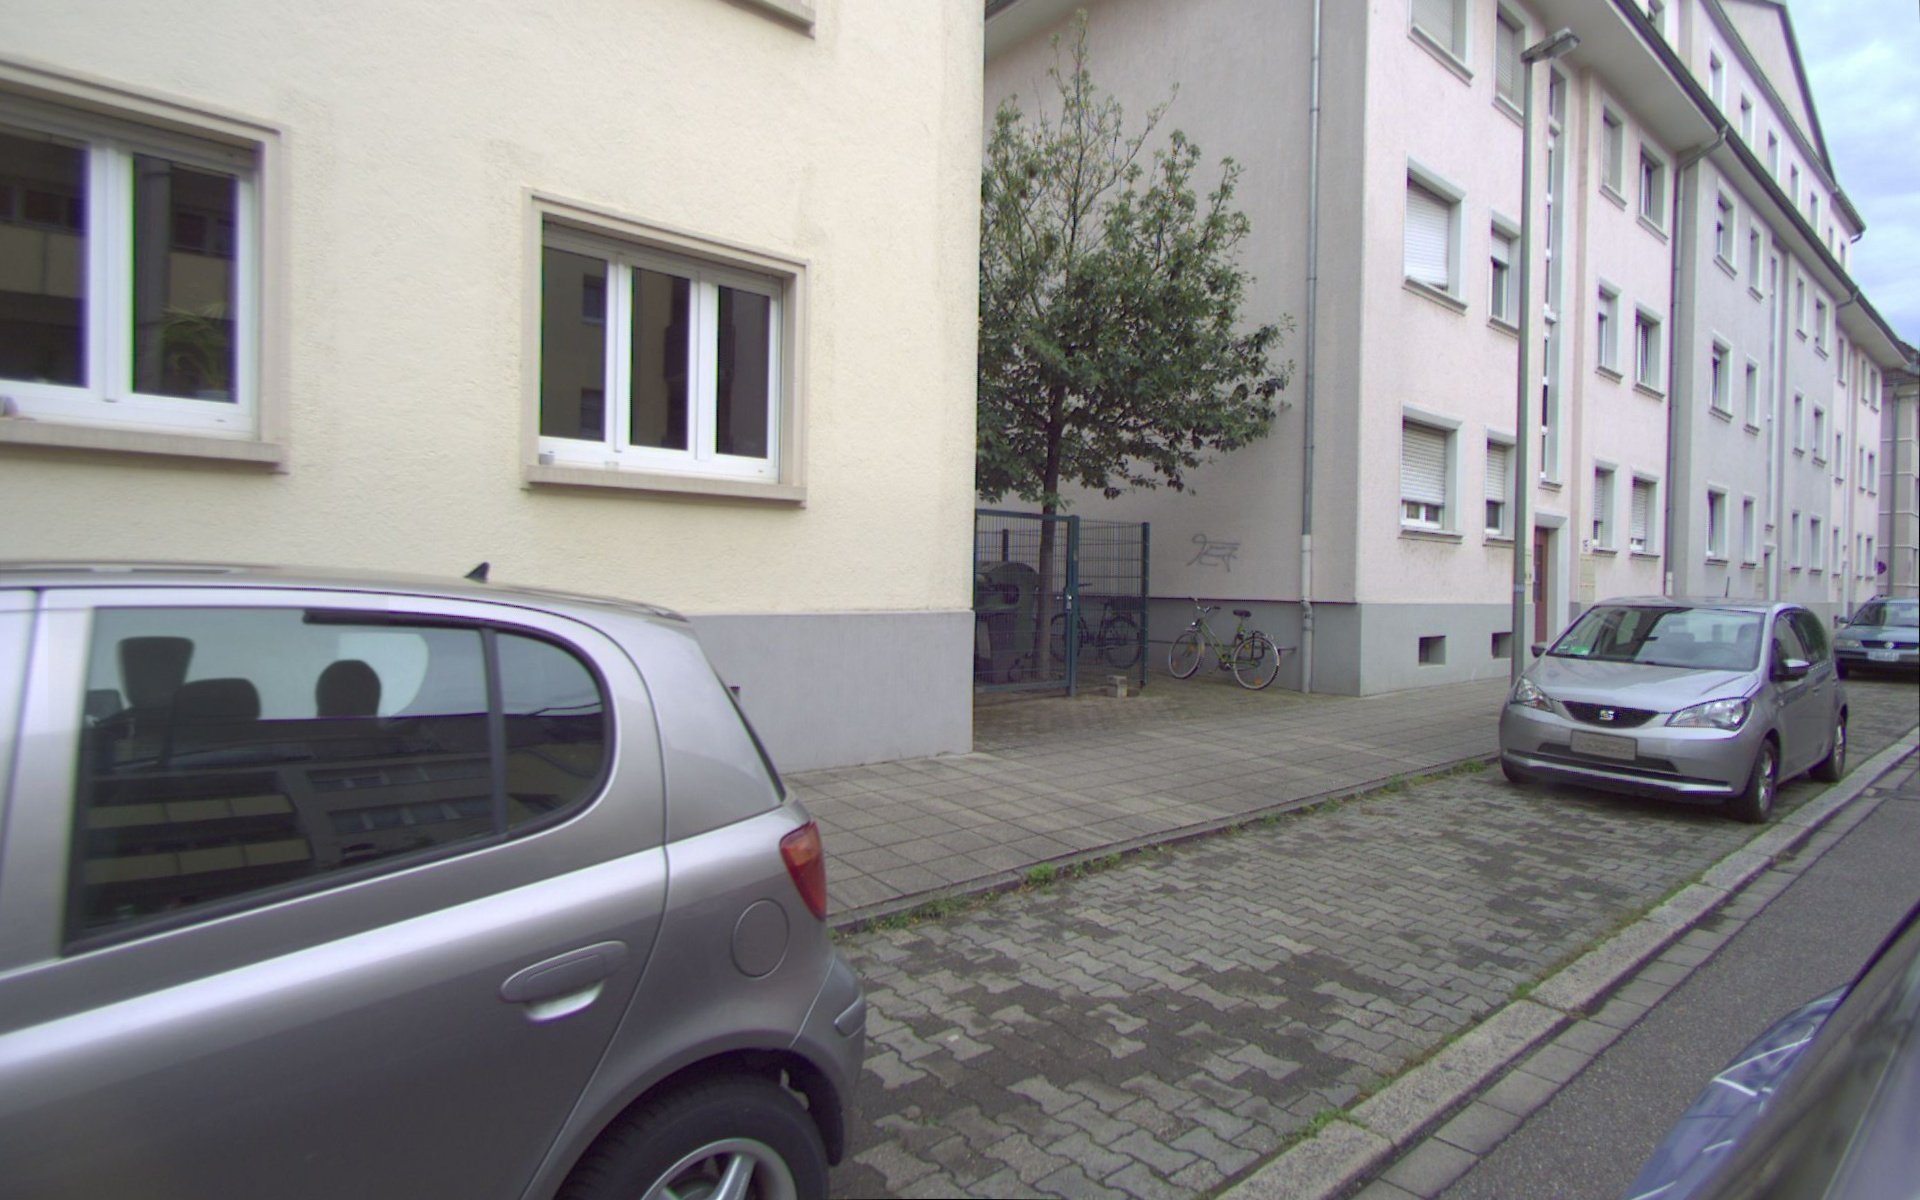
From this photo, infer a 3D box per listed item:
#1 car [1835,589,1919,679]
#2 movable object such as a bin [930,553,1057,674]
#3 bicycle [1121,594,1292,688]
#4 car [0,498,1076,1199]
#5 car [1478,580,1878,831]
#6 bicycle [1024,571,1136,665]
[{"bbox_3d":[17.487,0.564,18.458,4.190,1.487,1.728,0,2,-41],"label":"car"},{"bbox_3d":[0.425,0.143,13.031,1.129,1.462,1.163,0,1,-41],"label":"movable object such as a bin"},{"bbox_3d":[3.164,0.484,13.224,0.637,1.090,2.212,0,1,-41],"label":"bicycle"},{"bbox_3d":[-1.784,0.628,1.687,3.991,1.536,1.728,0,2,-42],"label":"car"},{"bbox_3d":[5.876,0.615,8.099,3.990,1.510,1.728,0,1,-41],"label":"car"},{"bbox_3d":[1.746,0.232,14.870,0.589,1.298,1.616,0,1,-44],"label":"bicycle"}]
